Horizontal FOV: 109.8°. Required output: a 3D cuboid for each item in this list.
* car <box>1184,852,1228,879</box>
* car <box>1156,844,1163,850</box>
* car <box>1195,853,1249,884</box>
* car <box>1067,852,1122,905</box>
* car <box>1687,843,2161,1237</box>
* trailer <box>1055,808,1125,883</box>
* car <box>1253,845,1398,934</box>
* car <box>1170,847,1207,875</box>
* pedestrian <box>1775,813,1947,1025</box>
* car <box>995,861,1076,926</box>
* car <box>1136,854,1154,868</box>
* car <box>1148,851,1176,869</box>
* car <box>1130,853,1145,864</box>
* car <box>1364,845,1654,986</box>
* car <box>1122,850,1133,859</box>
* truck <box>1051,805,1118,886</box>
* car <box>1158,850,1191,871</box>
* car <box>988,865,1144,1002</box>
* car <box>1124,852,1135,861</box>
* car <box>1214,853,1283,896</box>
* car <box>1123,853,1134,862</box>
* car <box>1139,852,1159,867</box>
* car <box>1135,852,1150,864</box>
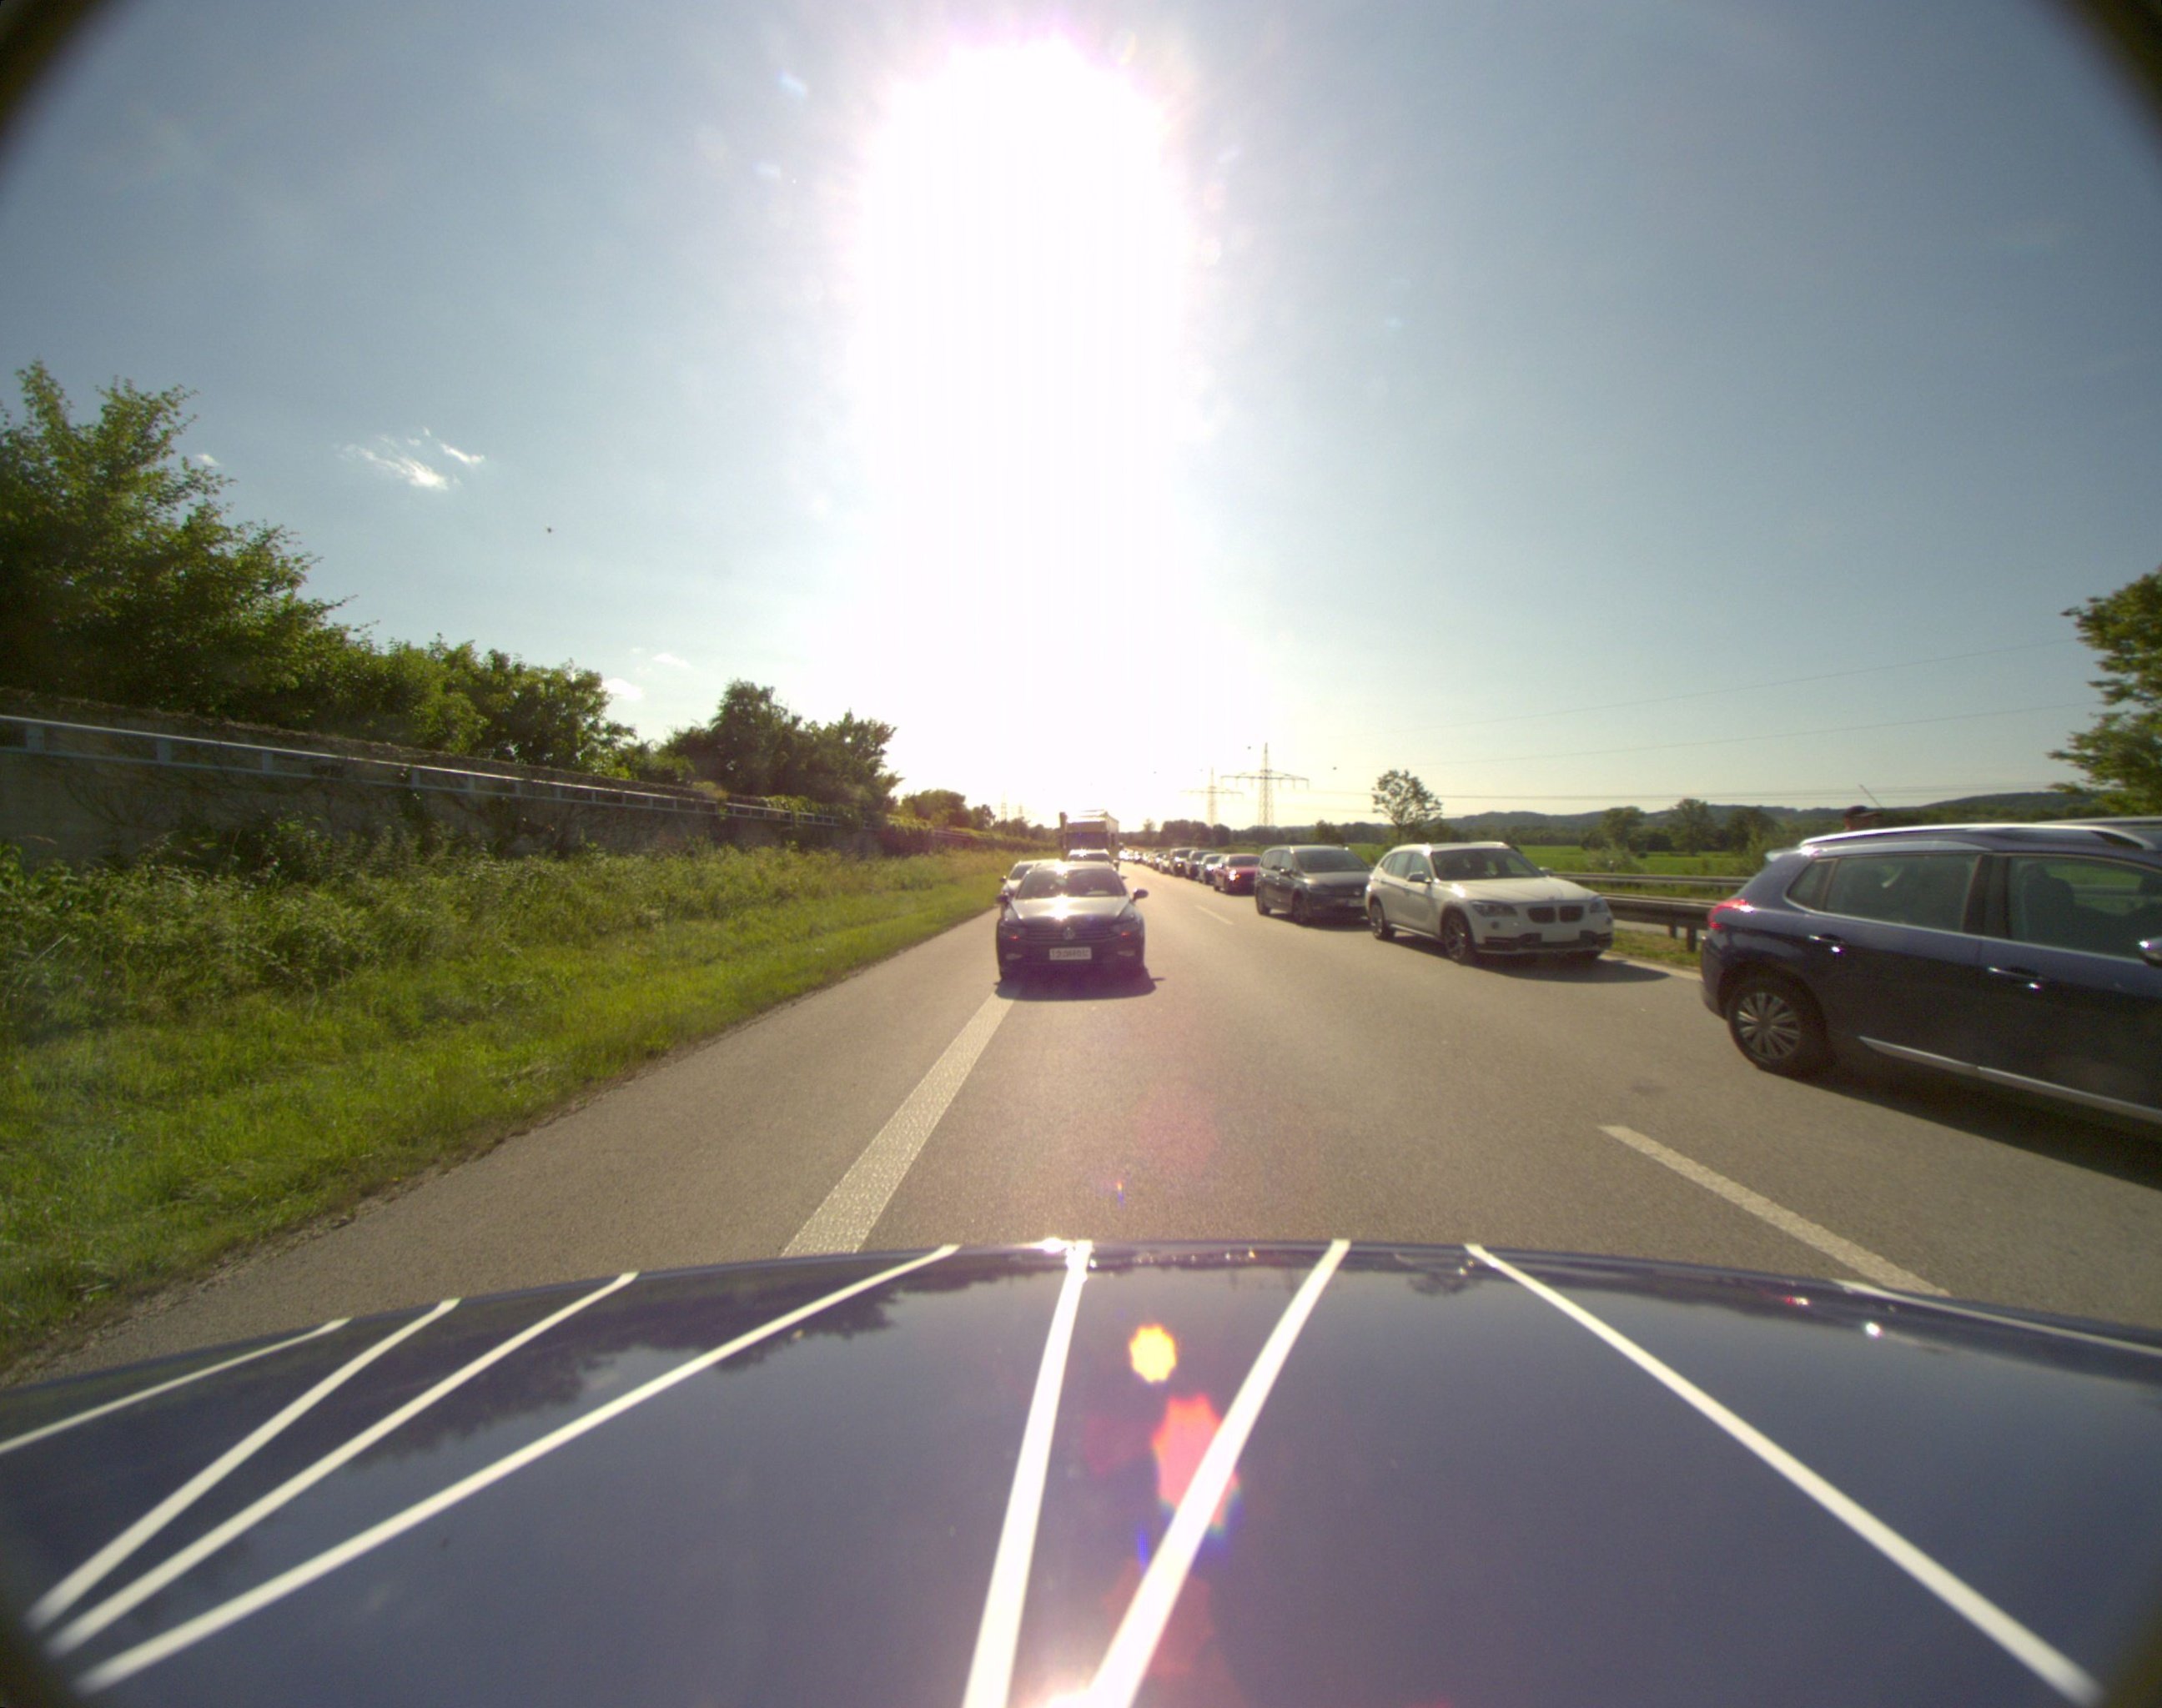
[{"bbox_3d":[7.011,0.616,42.974,1.894,1.446,4.000,-1,0,2],"label":"car"},{"bbox_3d":[21.914,-1.919,212.502,1.863,1.622,4.393,-2,1,3],"label":"car"},{"bbox_3d":[6.764,0.672,36.888,1.895,1.390,4.000,-1,0,1],"label":"car"},{"bbox_3d":[0.494,0.778,26.456,1.716,1.614,4.326,-2,0,2],"label":"car"},{"bbox_3d":[5.155,0.741,3.355,1.692,1.526,3.948,-3,0,-2],"label":"car"},{"bbox_3d":[0.896,-0.564,49.392,3.386,4.089,13.956,-2,1,5],"label":"trailer"},{"bbox_3d":[5.096,0.666,16.442,1.819,1.606,4.117,-2,0,1],"label":"car"},{"bbox_3d":[7.011,0.429,49.845,1.902,1.777,4.200,-1,0,1],"label":"car"},{"bbox_3d":[6.808,0.537,6.675,0.672,1.740,0.814,-1,1,1],"label":"pedestrian"},{"bbox_3d":[-1.087,0.957,20.030,1.716,1.417,4.326,-2,0,2],"label":"car"},{"bbox_3d":[7.221,0.779,86.414,1.819,1.450,4.117,-1,0,1],"label":"car"},{"bbox_3d":[7.044,0.521,66.316,1.998,1.522,4.000,-1,0,1],"label":"car"},{"bbox_3d":[7.842,0.580,105.526,1.819,1.450,4.117,-2,0,1],"label":"car"},{"bbox_3d":[5.643,0.699,10.717,1.832,1.564,4.164,-1,0,2],"label":"car"},{"bbox_3d":[8.582,0.085,140.876,1.813,1.783,3.773,-1,0,1],"label":"car"},{"bbox_3d":[0.351,-0.474,43.305,3.332,4.089,6.970,-2,1,3],"label":"truck"},{"bbox_3d":[6.957,0.469,57.021,1.998,1.522,4.000,-1,0,1],"label":"car"},{"bbox_3d":[-0.107,0.929,10.736,1.716,1.405,4.326,-2,0,2],"label":"car"},{"bbox_3d":[8.003,0.424,125.902,1.819,1.450,4.118,-2,0,3],"label":"car"},{"bbox_3d":[6.115,0.707,28.197,1.819,1.450,4.118,-1,0,3],"label":"car"},{"bbox_3d":[8.144,0.583,131.547,1.819,1.450,4.118,-1,0,3],"label":"car"},{"bbox_3d":[7.140,0.580,79.821,1.819,1.450,4.118,-2,0,3],"label":"car"},{"bbox_3d":[7.818,0.538,97.097,1.819,1.450,4.118,-1,0,2],"label":"car"}]
